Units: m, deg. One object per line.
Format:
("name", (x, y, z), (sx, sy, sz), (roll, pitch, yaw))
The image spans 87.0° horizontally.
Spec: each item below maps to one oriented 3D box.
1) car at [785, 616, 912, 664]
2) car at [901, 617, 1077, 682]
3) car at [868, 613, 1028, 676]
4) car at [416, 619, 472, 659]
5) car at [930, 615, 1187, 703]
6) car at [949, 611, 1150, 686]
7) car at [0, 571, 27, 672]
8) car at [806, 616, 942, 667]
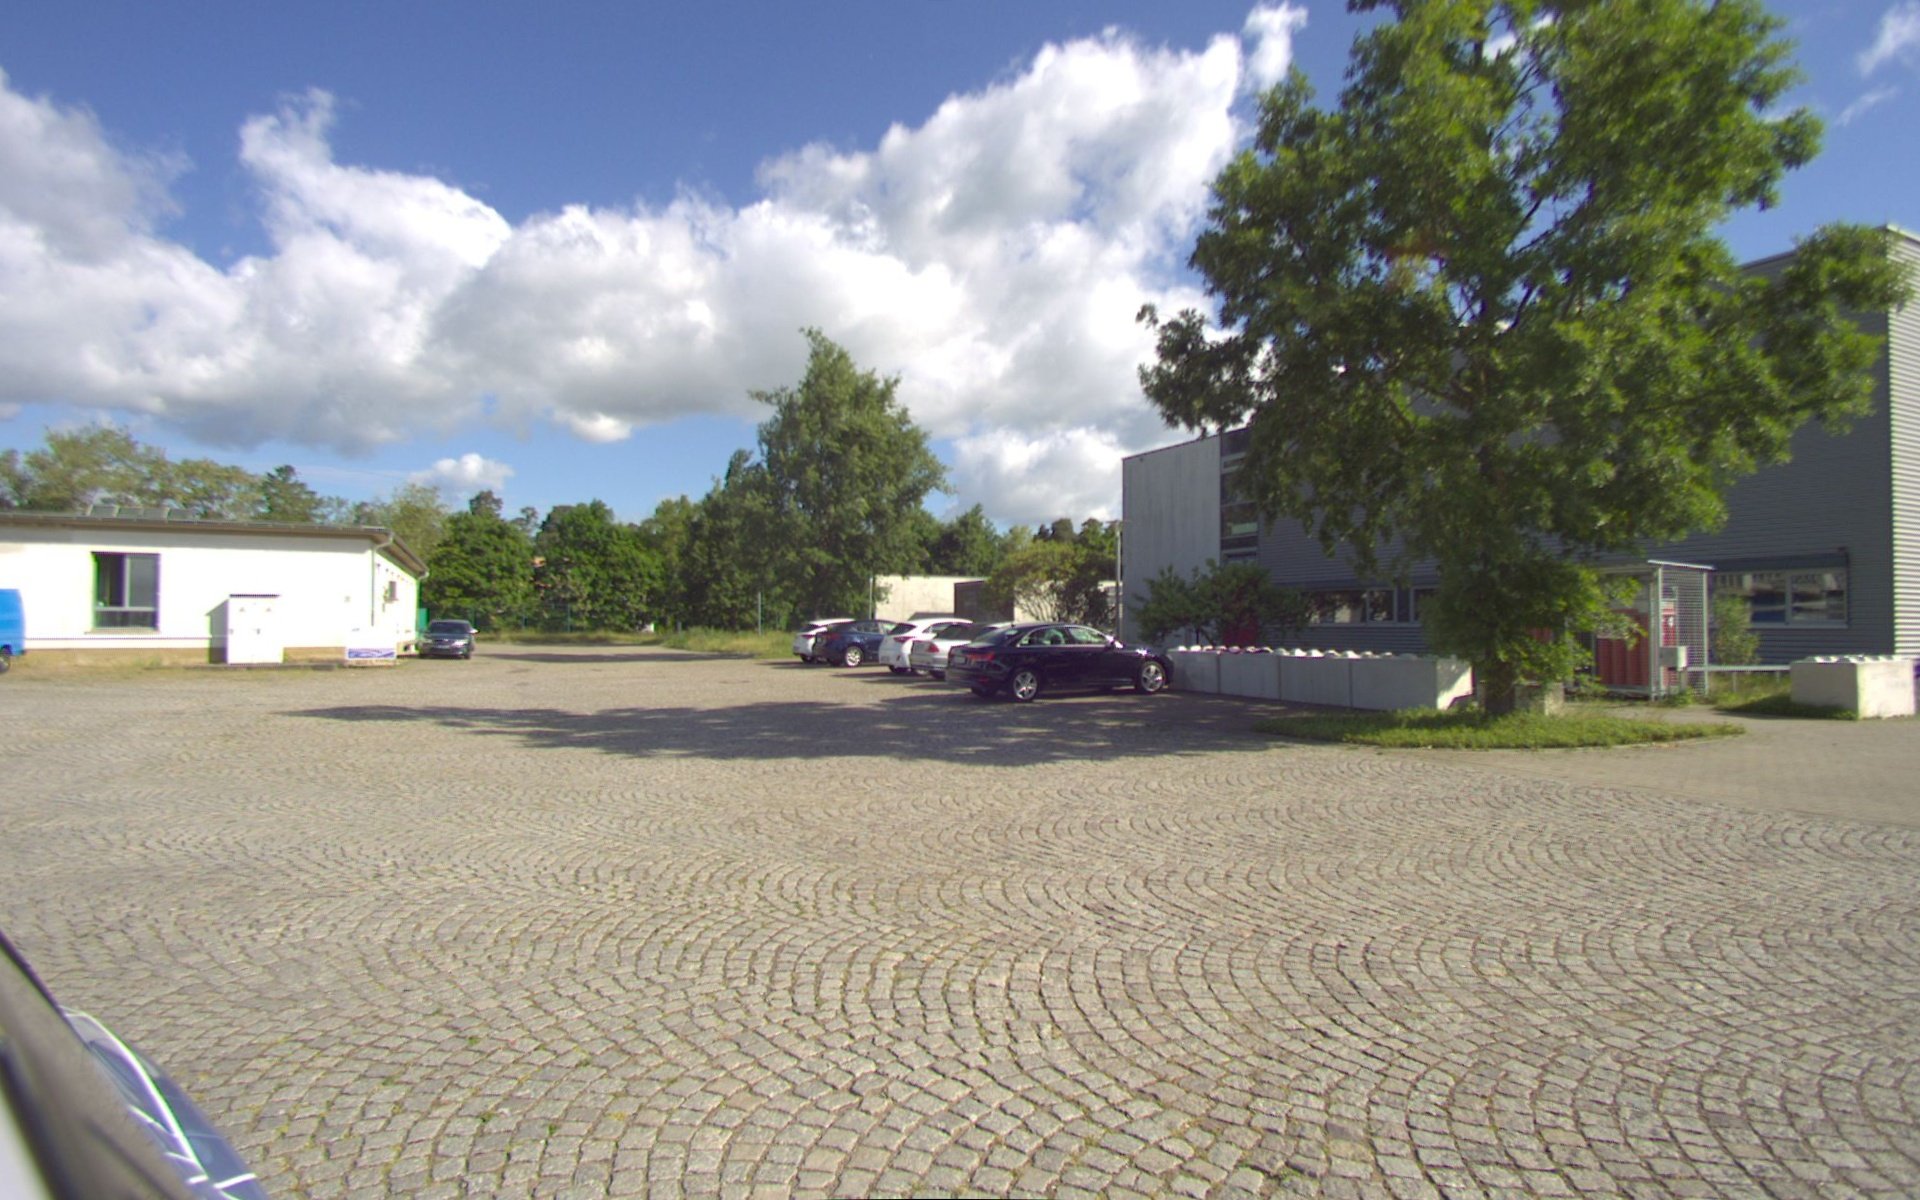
("car", (-3.742, 1.303, 34.023), (3.857, 1.446, 1.801), (-1, -1, -24))
("car", (0.709, 1.154, 24.539), (3.857, 1.382, 1.733), (-1, -1, -24))
("car", (-0.320, 1.129, 26.934), (3.857, 1.457, 1.761), (-1, 1, -24))
("car", (-19.778, 1.484, 38.901), (1.738, 1.446, 4.005), (1, -2, -25))
("car", (1.919, 1.061, 19.446), (4.652, 1.434, 1.763), (-1, -1, -26))
("car", (1.988, 1.037, 22.505), (4.080, 1.471, 1.697), (-1, -1, -20))
("car", (-24.401, 0.523, 23.688), (2.053, 2.502, 5.256), (1, -1, -22))
("car", (-2.677, 1.263, 31.631), (3.857, 1.428, 1.698), (-1, -1, -24))
